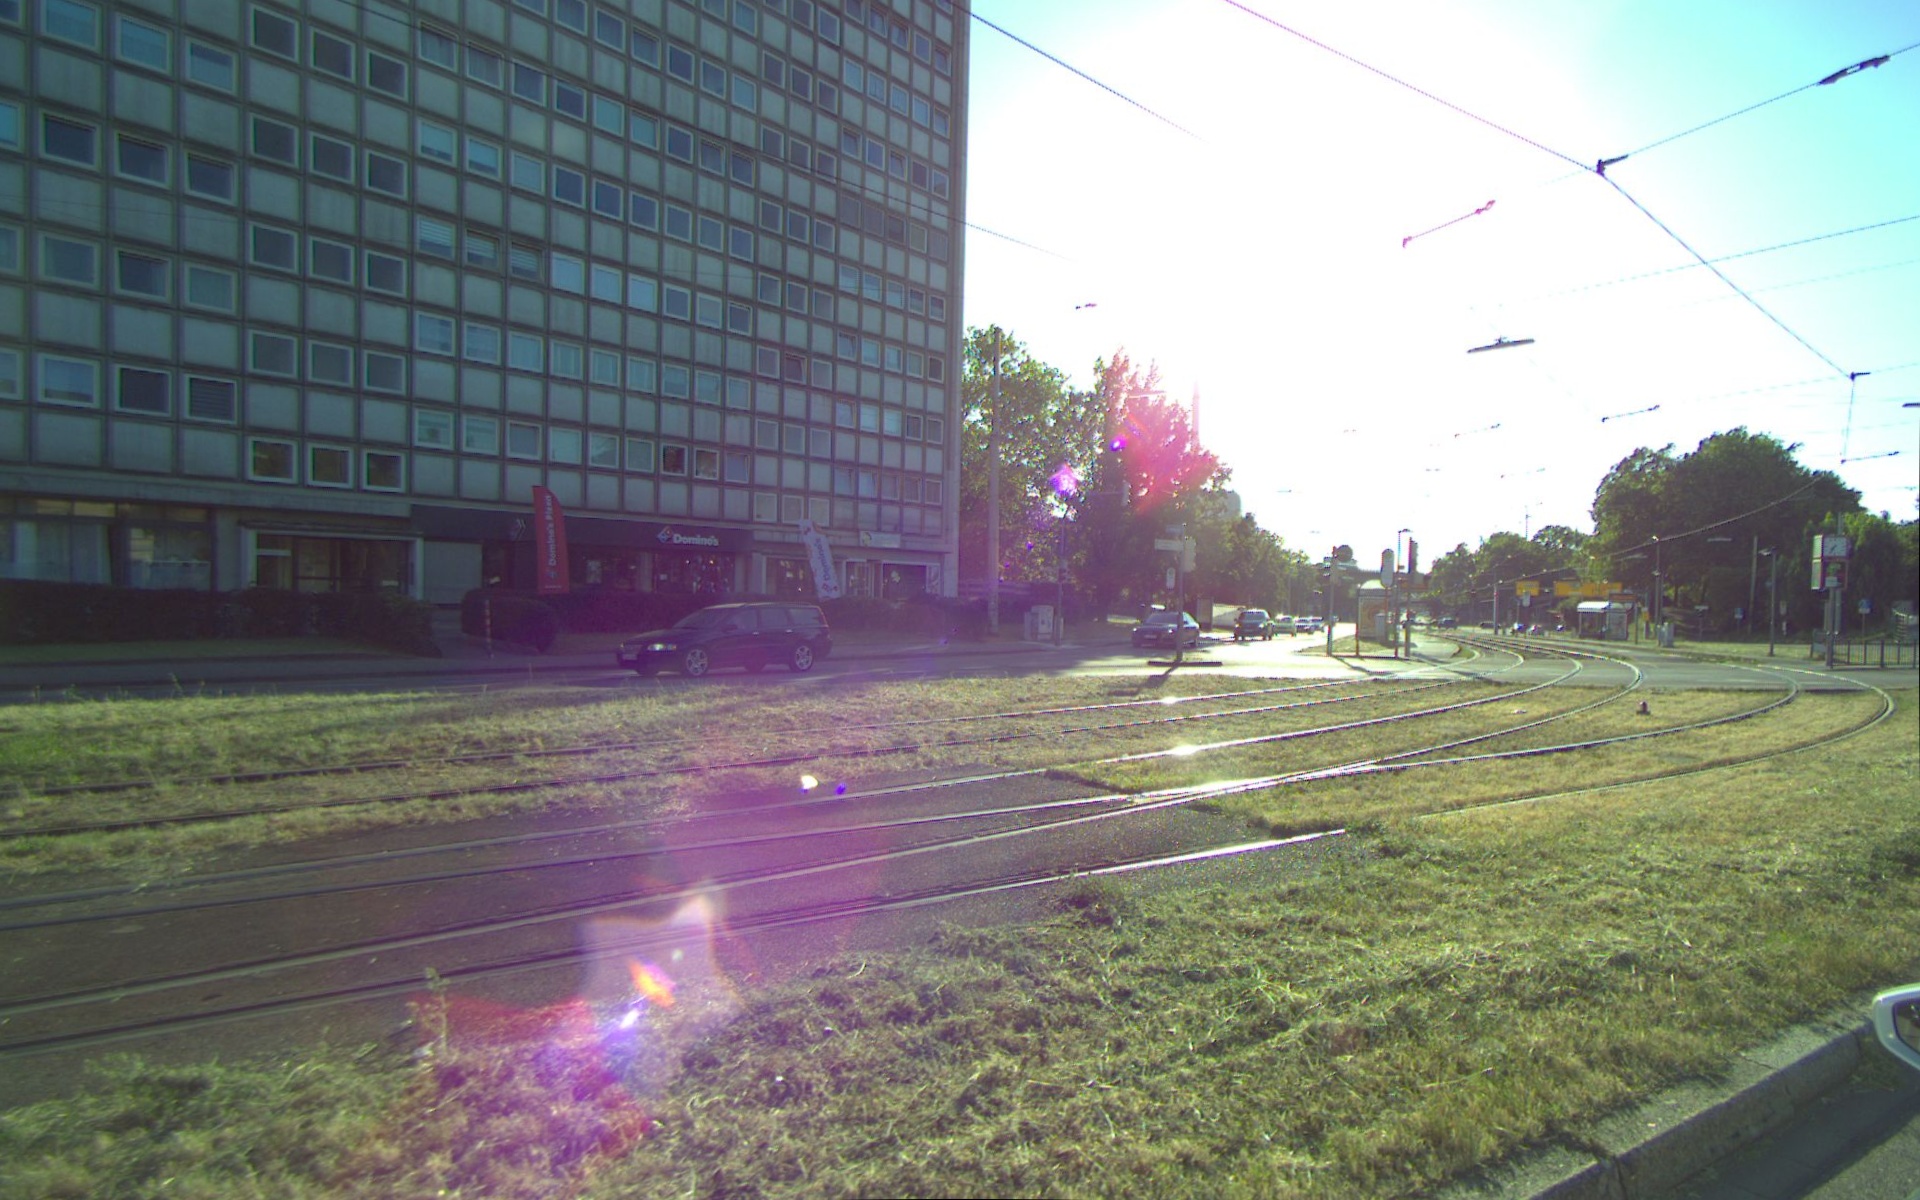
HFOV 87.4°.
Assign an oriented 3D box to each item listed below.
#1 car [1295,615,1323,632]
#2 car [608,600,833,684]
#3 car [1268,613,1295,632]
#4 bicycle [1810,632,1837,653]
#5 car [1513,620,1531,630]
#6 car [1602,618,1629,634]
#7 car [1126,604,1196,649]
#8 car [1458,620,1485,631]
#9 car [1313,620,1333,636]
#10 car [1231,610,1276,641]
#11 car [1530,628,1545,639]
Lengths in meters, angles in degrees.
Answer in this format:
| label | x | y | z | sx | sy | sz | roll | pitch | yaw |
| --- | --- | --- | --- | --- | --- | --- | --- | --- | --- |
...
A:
| label | x | y | z | sx | sy | sz | roll | pitch | yaw |
| --- | --- | --- | --- | --- | --- | --- | --- | --- | --- |
| car | 30.165 | 2.007 | 86.772 | 1.773 | 1.385 | 3.962 | 2 | 0 | 25 |
| car | -4.795 | 0.768 | 20.676 | 1.754 | 1.502 | 4.381 | 0 | 1 | 38 |
| car | 23.676 | 1.639 | 73.876 | 1.520 | 1.358 | 3.591 | 2 | 0 | 24 |
| bicycle | 39.427 | 1.924 | 45.868 | 1.726 | 0.930 | 0.549 | 1 | -1 | -36 |
| car | 90.881 | 4.102 | 162.412 | 2.004 | 1.465 | 3.998 | 1 | 1 | 22 |
| car | 62.740 | 2.511 | 96.161 | 1.745 | 1.441 | 3.850 | 1 | 0 | 28 |
| car | 8.081 | 1.028 | 40.087 | 1.626 | 1.617 | 4.582 | 2 | 0 | 26 |
| car | 110.470 | 5.468 | 216.917 | 4.790 | 2.041 | 1.990 | 2 | 1 | 41 |
| car | 38.171 | 2.942 | 105.697 | 1.663 | 1.550 | 3.698 | 2 | 0 | 24 |
| car | 16.519 | 1.436 | 56.414 | 1.556 | 1.616 | 4.146 | 2 | 0 | 28 |
| car | 86.120 | 5.024 | 149.914 | 1.491 | 1.406 | 3.361 | 2 | 1 | 23 |
